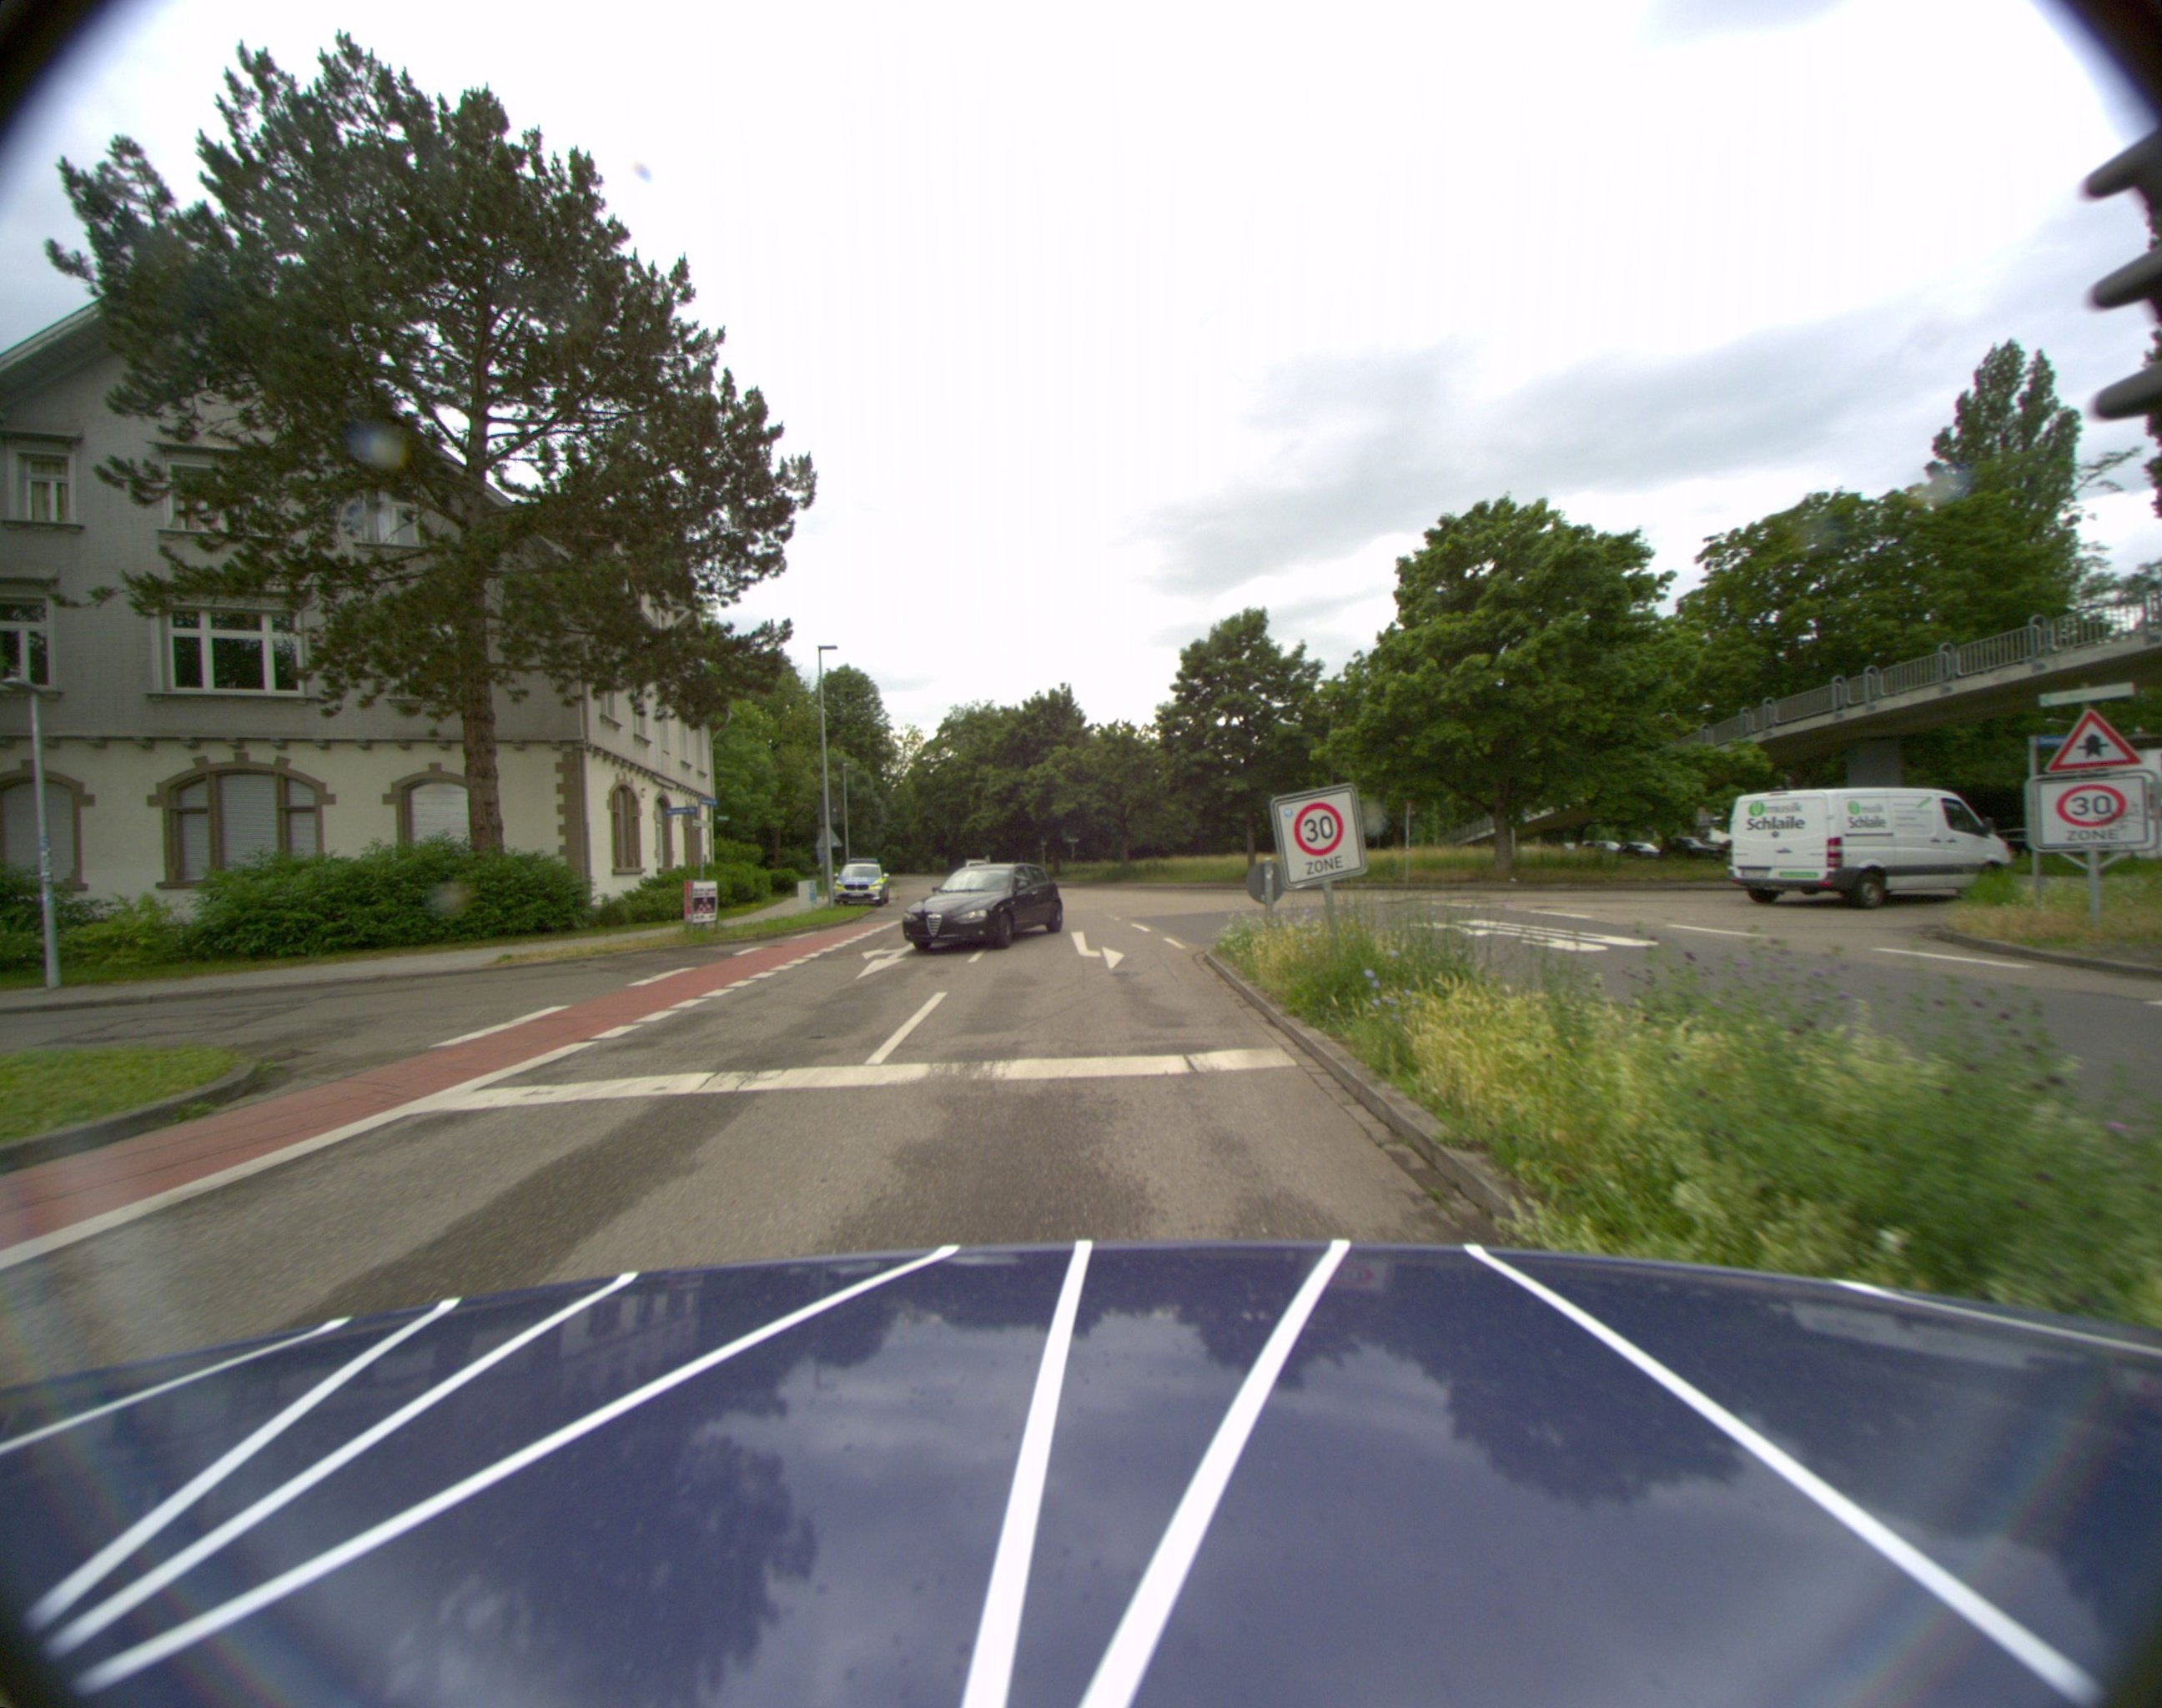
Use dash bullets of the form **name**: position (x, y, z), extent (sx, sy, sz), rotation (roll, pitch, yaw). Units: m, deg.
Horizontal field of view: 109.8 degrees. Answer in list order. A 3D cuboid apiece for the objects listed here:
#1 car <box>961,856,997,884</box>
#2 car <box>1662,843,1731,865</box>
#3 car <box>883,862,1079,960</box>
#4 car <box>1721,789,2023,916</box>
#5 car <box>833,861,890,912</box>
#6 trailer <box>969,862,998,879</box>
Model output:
- **car**: position (-7.365, 1.121, 54.468), extent (2.096, 1.847, 4.217), rotation (-2, 0, -14)
- **car**: position (40.363, 0.024, 49.937), extent (1.692, 1.343, 4.003), rotation (-2, 0, 9)
- **car**: position (-1.612, 0.926, 14.167), extent (1.800, 1.448, 4.547), rotation (-2, 0, 18)
- **car**: position (16.370, -0.088, 15.773), extent (5.211, 2.279, 2.138), rotation (-2, 1, -16)
- **car**: position (-8.399, 1.206, 29.417), extent (1.938, 1.839, 3.995), rotation (0, -1, -14)
- **trailer**: position (-6.545, 1.071, 50.723), extent (1.572, 0.980, 3.460), rotation (-2, 1, -12)
